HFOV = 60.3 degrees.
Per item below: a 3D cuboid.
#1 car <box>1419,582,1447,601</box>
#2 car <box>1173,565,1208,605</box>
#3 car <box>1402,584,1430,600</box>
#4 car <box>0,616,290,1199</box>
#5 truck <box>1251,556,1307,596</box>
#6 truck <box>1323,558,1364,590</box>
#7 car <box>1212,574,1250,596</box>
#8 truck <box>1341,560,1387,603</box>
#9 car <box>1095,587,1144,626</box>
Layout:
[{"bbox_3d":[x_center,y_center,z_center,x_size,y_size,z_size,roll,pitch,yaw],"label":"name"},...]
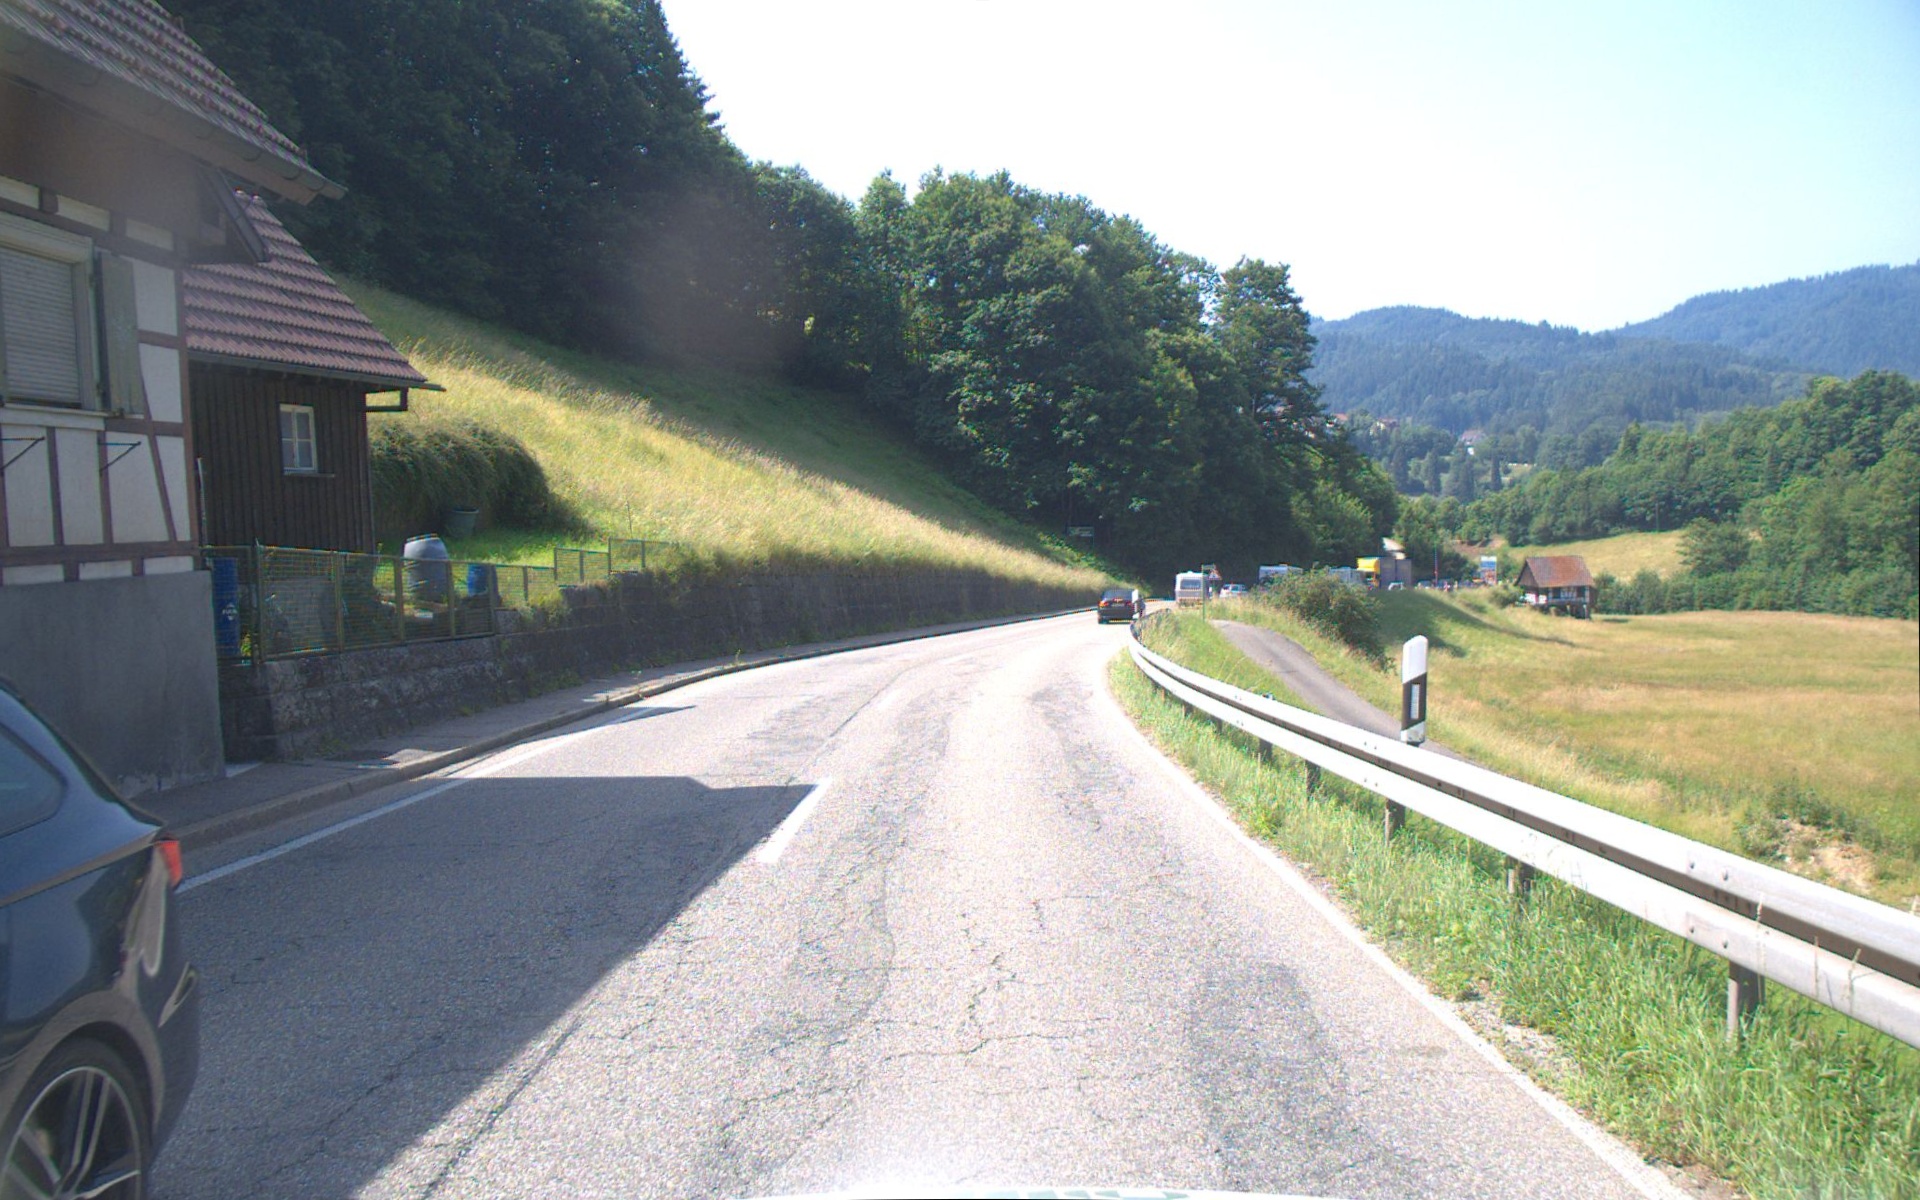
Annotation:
[{"bbox_3d":[52.261,-0.933,182.827,1.958,1.959,3.991,2,2,31],"label":"car"},{"bbox_3d":[14.731,-0.995,105.554,1.951,2.393,4.919,1,2,11],"label":"car"},{"bbox_3d":[48.131,-0.871,174.604,1.871,1.511,3.993,4,2,30],"label":"car"},{"bbox_3d":[-2.432,0.739,1.834,1.729,1.421,4.144,0,0,-1],"label":"car"},{"bbox_3d":[25.998,-1.960,134.538,2.736,3.049,6.864,3,3,25],"label":"truck"},{"bbox_3d":[35.836,-2.372,154.430,2.194,2.853,6.225,1,0,27],"label":"truck"},{"bbox_3d":[19.928,-1.099,121.619,1.953,1.510,4.001,3,2,21],"label":"car"},{"bbox_3d":[43.631,-2.006,178.319,3.129,4.473,6.561,2,2,29],"label":"truck"},{"bbox_3d":[6.371,0.250,65.701,1.733,1.358,3.771,1,2,8],"label":"car"}]
